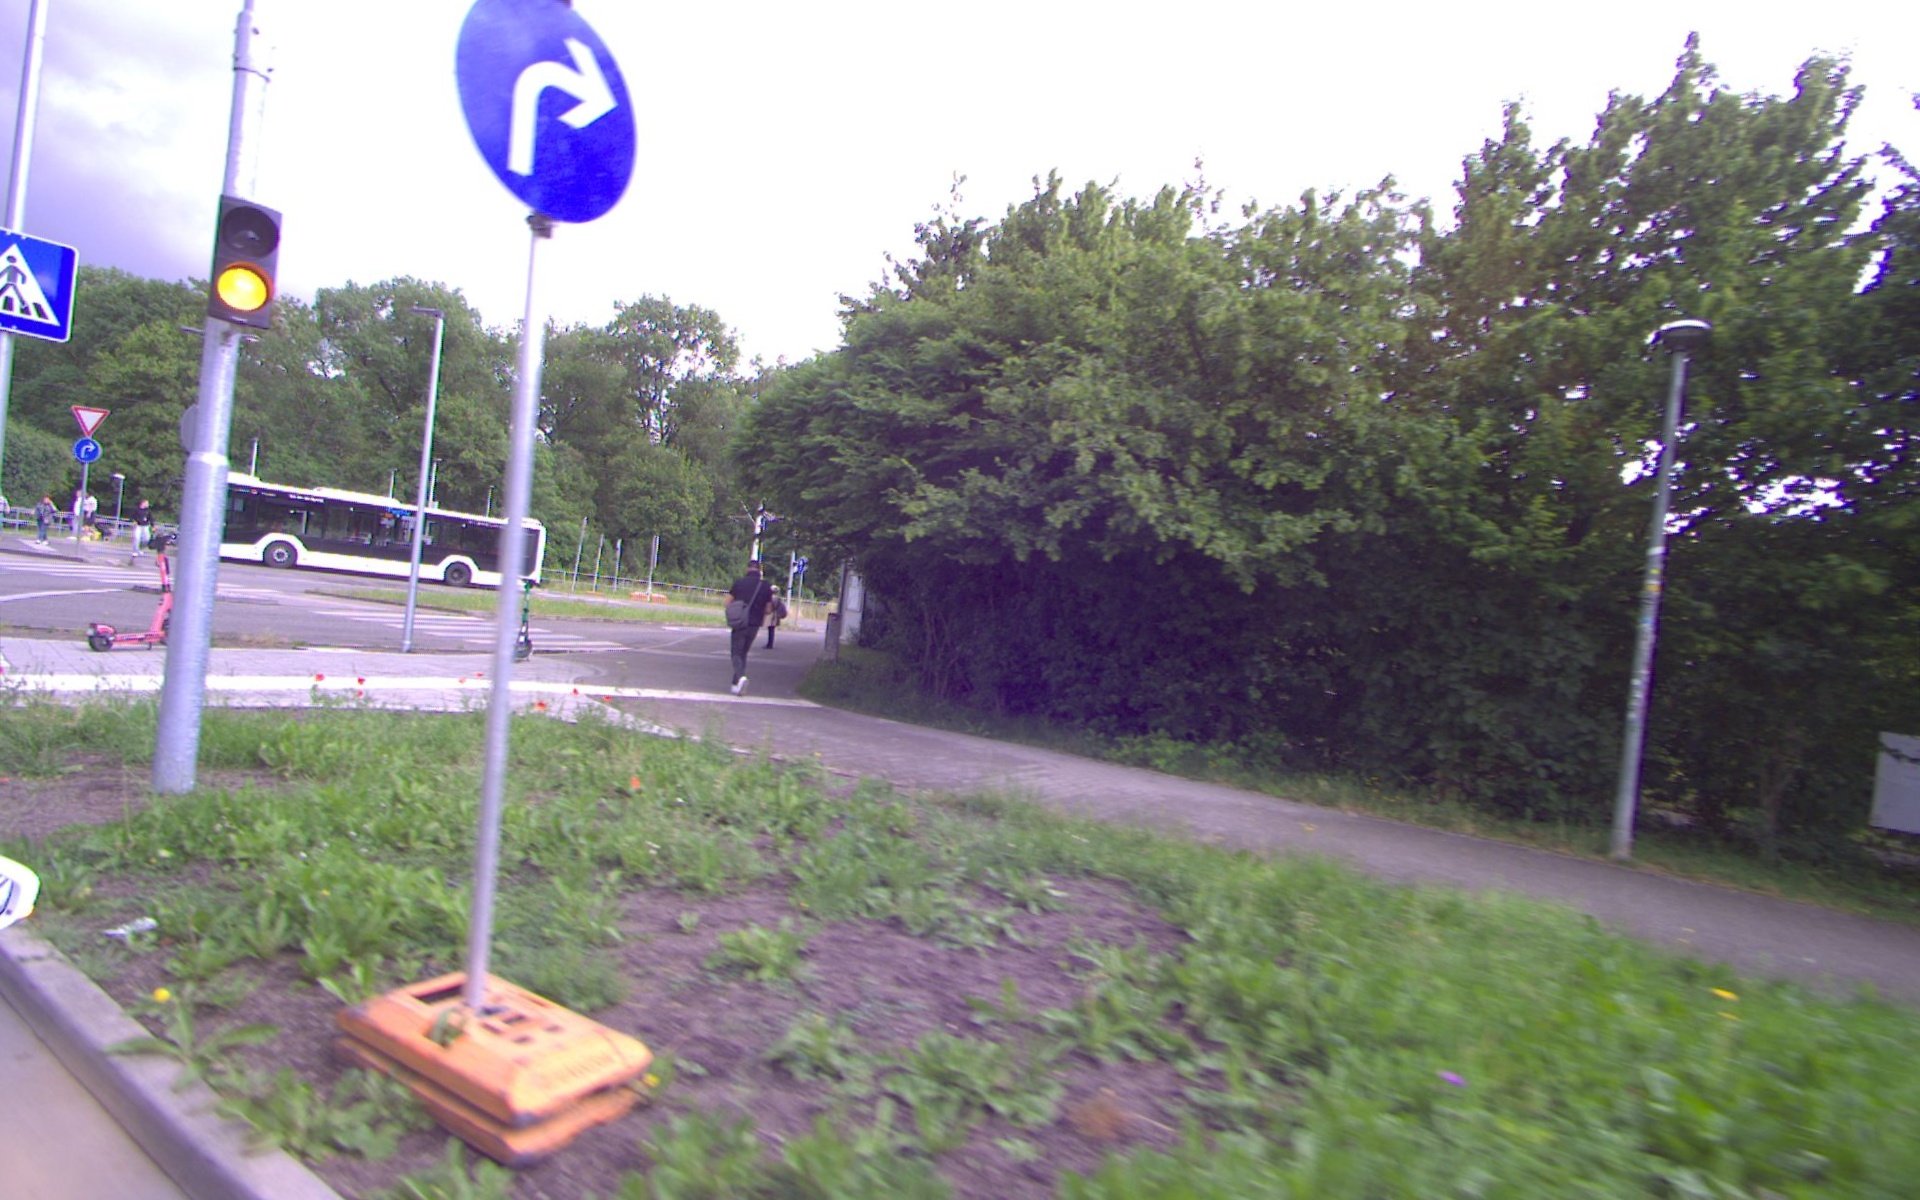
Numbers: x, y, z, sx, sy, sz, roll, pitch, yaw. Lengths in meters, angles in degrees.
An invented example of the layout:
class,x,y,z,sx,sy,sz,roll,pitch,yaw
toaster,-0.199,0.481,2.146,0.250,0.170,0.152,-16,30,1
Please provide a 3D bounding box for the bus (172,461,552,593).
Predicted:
class,x,y,z,sx,sy,sz,roll,pitch,yaw
bus,-22.336,-2.544,38.673,2.640,3.242,12.131,7,-1,44

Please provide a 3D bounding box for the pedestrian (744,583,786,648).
class,x,y,z,sx,sy,sz,roll,pitch,yaw
pedestrian,-5.055,0.410,26.140,0.674,1.613,0.772,7,0,11

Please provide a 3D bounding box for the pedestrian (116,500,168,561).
class,x,y,z,sx,sy,sz,roll,pitch,yaw
pedestrian,-25.785,-2.176,31.732,0.946,1.768,1.054,7,0,-28

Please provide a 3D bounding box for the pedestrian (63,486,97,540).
class,x,y,z,sx,sy,sz,roll,pitch,yaw
pedestrian,-30.844,-3.030,35.268,0.717,1.769,0.946,7,0,-41

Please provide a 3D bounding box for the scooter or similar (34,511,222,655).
class,x,y,z,sx,sy,sz,roll,pitch,yaw
scooter or similar,-8.618,-0.151,10.504,0.562,1.329,1.526,7,-1,-1

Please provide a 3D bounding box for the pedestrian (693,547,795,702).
class,x,y,z,sx,sy,sz,roll,pitch,yaw
pedestrian,-2.776,0.321,13.040,0.841,1.844,0.985,7,0,6

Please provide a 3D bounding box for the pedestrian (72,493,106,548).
class,x,y,z,sx,sy,sz,roll,pitch,yaw
pedestrian,-29.922,-2.714,34.575,0.717,1.769,0.946,7,0,-41

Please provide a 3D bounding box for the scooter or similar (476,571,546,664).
class,x,y,z,sx,sy,sz,roll,pitch,yaw
scooter or similar,-6.893,0.269,15.509,0.612,1.289,1.492,7,-2,-15

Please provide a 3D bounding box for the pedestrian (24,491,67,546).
class,x,y,z,sx,sy,sz,roll,pitch,yaw
pedestrian,-28.426,-2.513,31.279,0.684,1.586,0.727,7,0,-28
